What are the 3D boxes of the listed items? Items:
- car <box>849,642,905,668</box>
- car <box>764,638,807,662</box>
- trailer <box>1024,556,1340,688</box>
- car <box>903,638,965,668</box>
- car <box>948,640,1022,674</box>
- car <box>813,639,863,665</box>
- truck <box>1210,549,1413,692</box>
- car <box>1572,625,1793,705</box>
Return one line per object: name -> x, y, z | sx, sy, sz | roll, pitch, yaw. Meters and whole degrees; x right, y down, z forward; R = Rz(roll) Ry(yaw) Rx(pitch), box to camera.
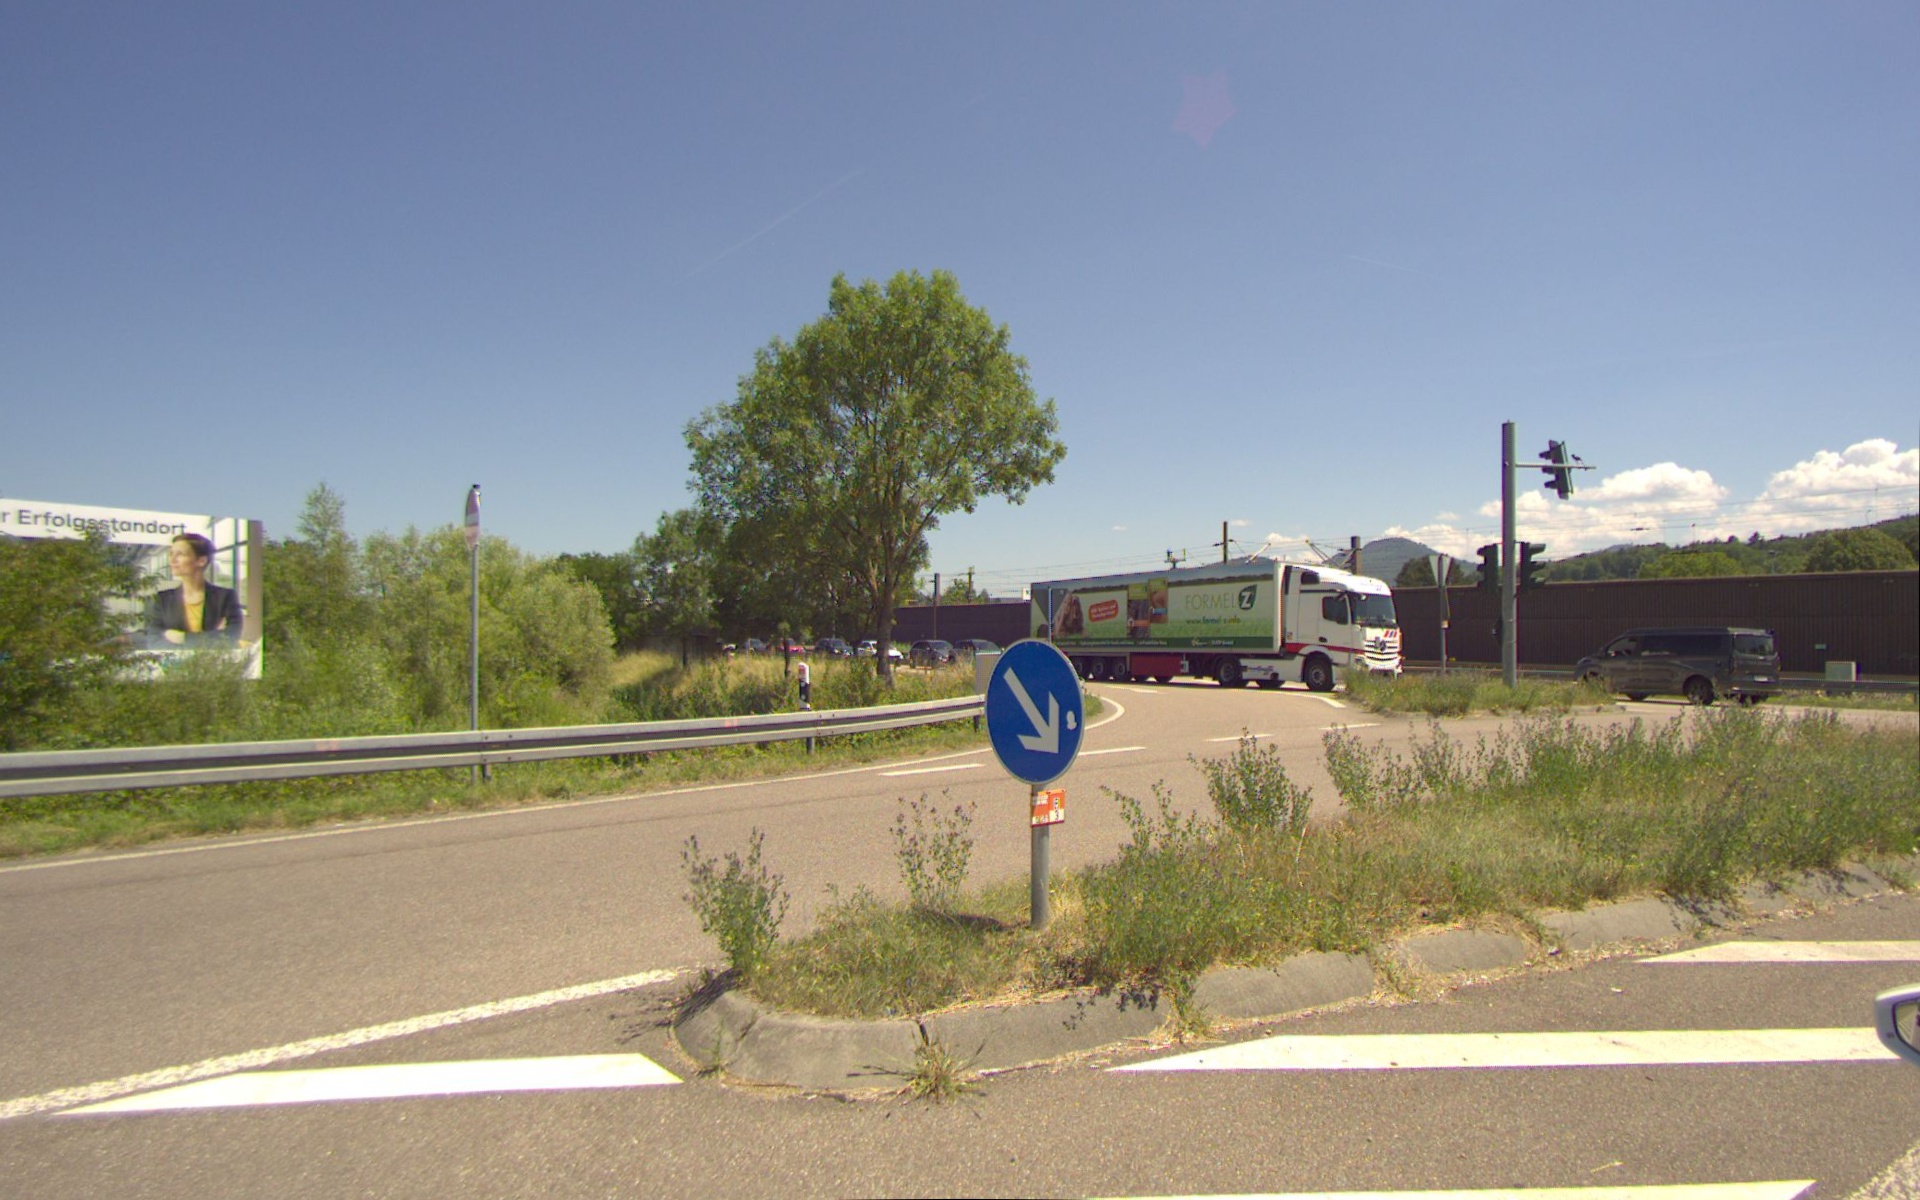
car -> -5.102, 3.329, 60.965 | 1.639, 1.498, 4.595 | 2, -3, -29
car -> -12.784, 3.649, 73.401 | 1.740, 1.653, 4.246 | 2, -3, -30
trailer -> 7.526, 0.987, 37.753 | 2.668, 4.097, 14.006 | 3, -3, -31
car -> -1.470, 2.850, 54.754 | 1.609, 1.558, 4.352 | 1, -2, -28
car -> 1.182, 2.781, 49.323 | 1.698, 1.582, 4.120 | 2, -3, -31
car -> -8.154, 3.456, 66.874 | 1.702, 1.610, 4.500 | 2, -3, -29
truck -> 11.033, 0.741, 32.006 | 2.668, 4.097, 5.776 | 3, -3, -31
car -> 20.003, 1.772, 28.099 | 1.983, 2.049, 4.763 | 2, -3, -19
